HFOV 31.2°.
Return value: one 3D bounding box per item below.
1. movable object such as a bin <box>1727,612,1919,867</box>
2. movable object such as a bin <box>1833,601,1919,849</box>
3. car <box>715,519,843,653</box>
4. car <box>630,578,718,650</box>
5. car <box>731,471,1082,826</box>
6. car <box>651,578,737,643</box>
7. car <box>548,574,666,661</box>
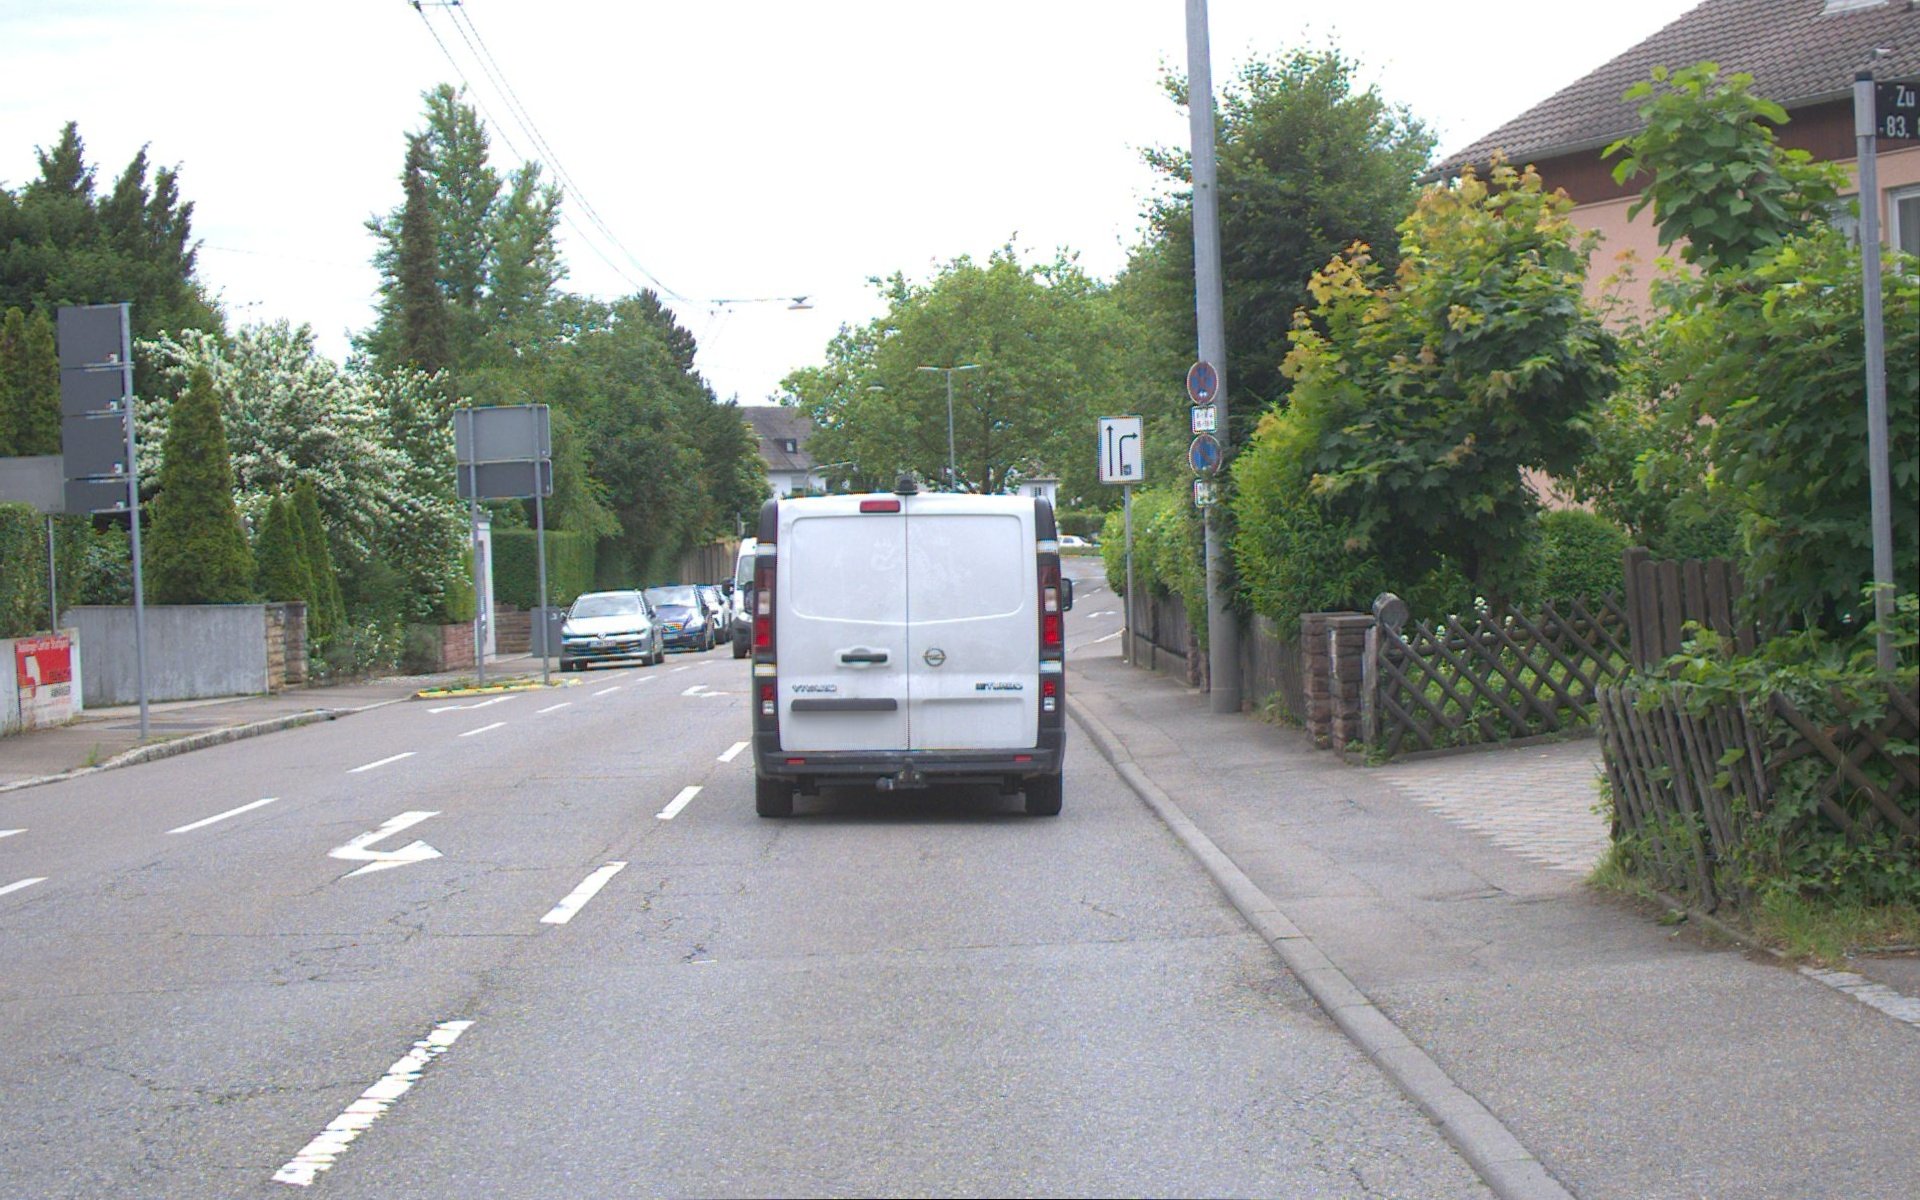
[{"bbox_3d":[3.495,0.545,13.769,0.446,0.953,0.686,-6,2,-21],"label":"movable object such as a bin"},{"bbox_3d":[3.961,0.498,13.937,0.446,0.953,0.686,-6,2,-17],"label":"movable object such as a bin"},{"bbox_3d":[-3.595,-0.282,69.370,2.111,2.490,6.124,-2,0,1],"label":"car"},{"bbox_3d":[-6.688,0.311,80.788,1.678,1.551,3.971,-4,0,0],"label":"car"},{"bbox_3d":[-0.355,0.241,22.186,2.006,2.031,5.010,0,1,-1],"label":"car"},{"bbox_3d":[-6.848,0.262,88.763,1.889,1.489,4.027,-3,1,-1],"label":"car"},{"bbox_3d":[-6.720,0.313,65.882,1.809,1.450,4.414,-4,1,-1],"label":"car"}]
